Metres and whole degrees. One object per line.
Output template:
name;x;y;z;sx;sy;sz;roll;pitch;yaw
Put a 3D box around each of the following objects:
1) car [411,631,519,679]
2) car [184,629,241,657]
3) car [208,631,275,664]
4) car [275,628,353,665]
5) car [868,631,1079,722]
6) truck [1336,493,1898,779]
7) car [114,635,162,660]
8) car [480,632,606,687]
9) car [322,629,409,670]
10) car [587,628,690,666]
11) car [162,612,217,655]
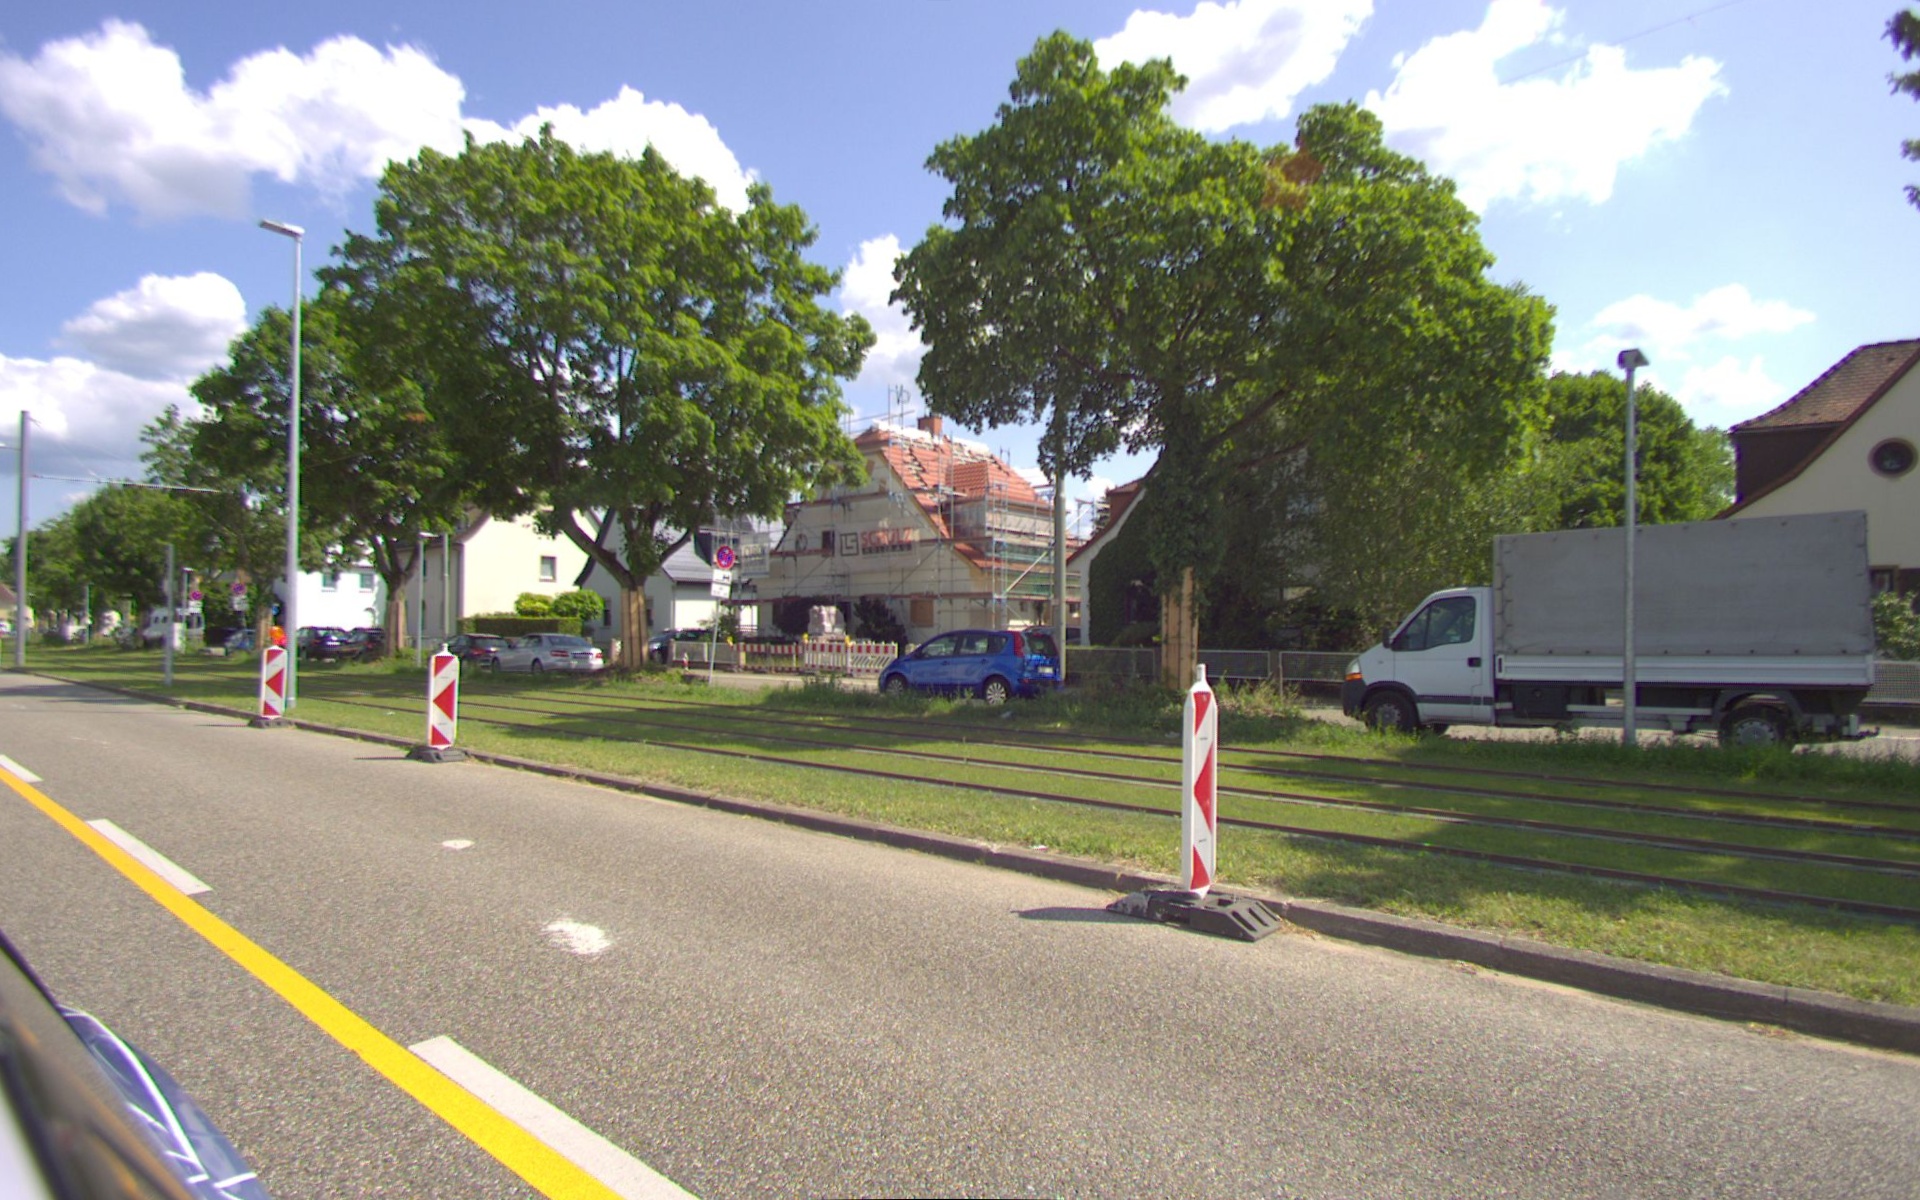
car;-17.615;1.912;35.936;4.603;1.623;1.733;-2;-3;40
car;-44.647;2.547;60.409;4.603;1.623;1.733;-2;-3;40
car;-37.646;2.463;52.984;4.603;1.623;1.733;-2;-3;40
car;-29.603;2.094;46.335;4.603;1.623;1.733;-2;-3;40
car;0.208;1.442;20.186;4.047;1.623;1.733;-2;-3;40
truck;8.274;0.464;13.361;5.871;3.010;1.982;-2;-3;41
car;-57.024;3.260;70.154;4.603;1.623;1.733;-2;-3;40
car;-13.174;1.827;31.865;4.603;1.623;1.733;-2;-3;40
car;-25.184;2.070;42.832;4.603;1.623;1.733;-2;-3;40
car;-14.083;2.043;44.513;1.756;1.623;3.995;-2;-3;41
car;-48.829;2.100;64.097;4.603;2.636;1.733;-2;-3;40
